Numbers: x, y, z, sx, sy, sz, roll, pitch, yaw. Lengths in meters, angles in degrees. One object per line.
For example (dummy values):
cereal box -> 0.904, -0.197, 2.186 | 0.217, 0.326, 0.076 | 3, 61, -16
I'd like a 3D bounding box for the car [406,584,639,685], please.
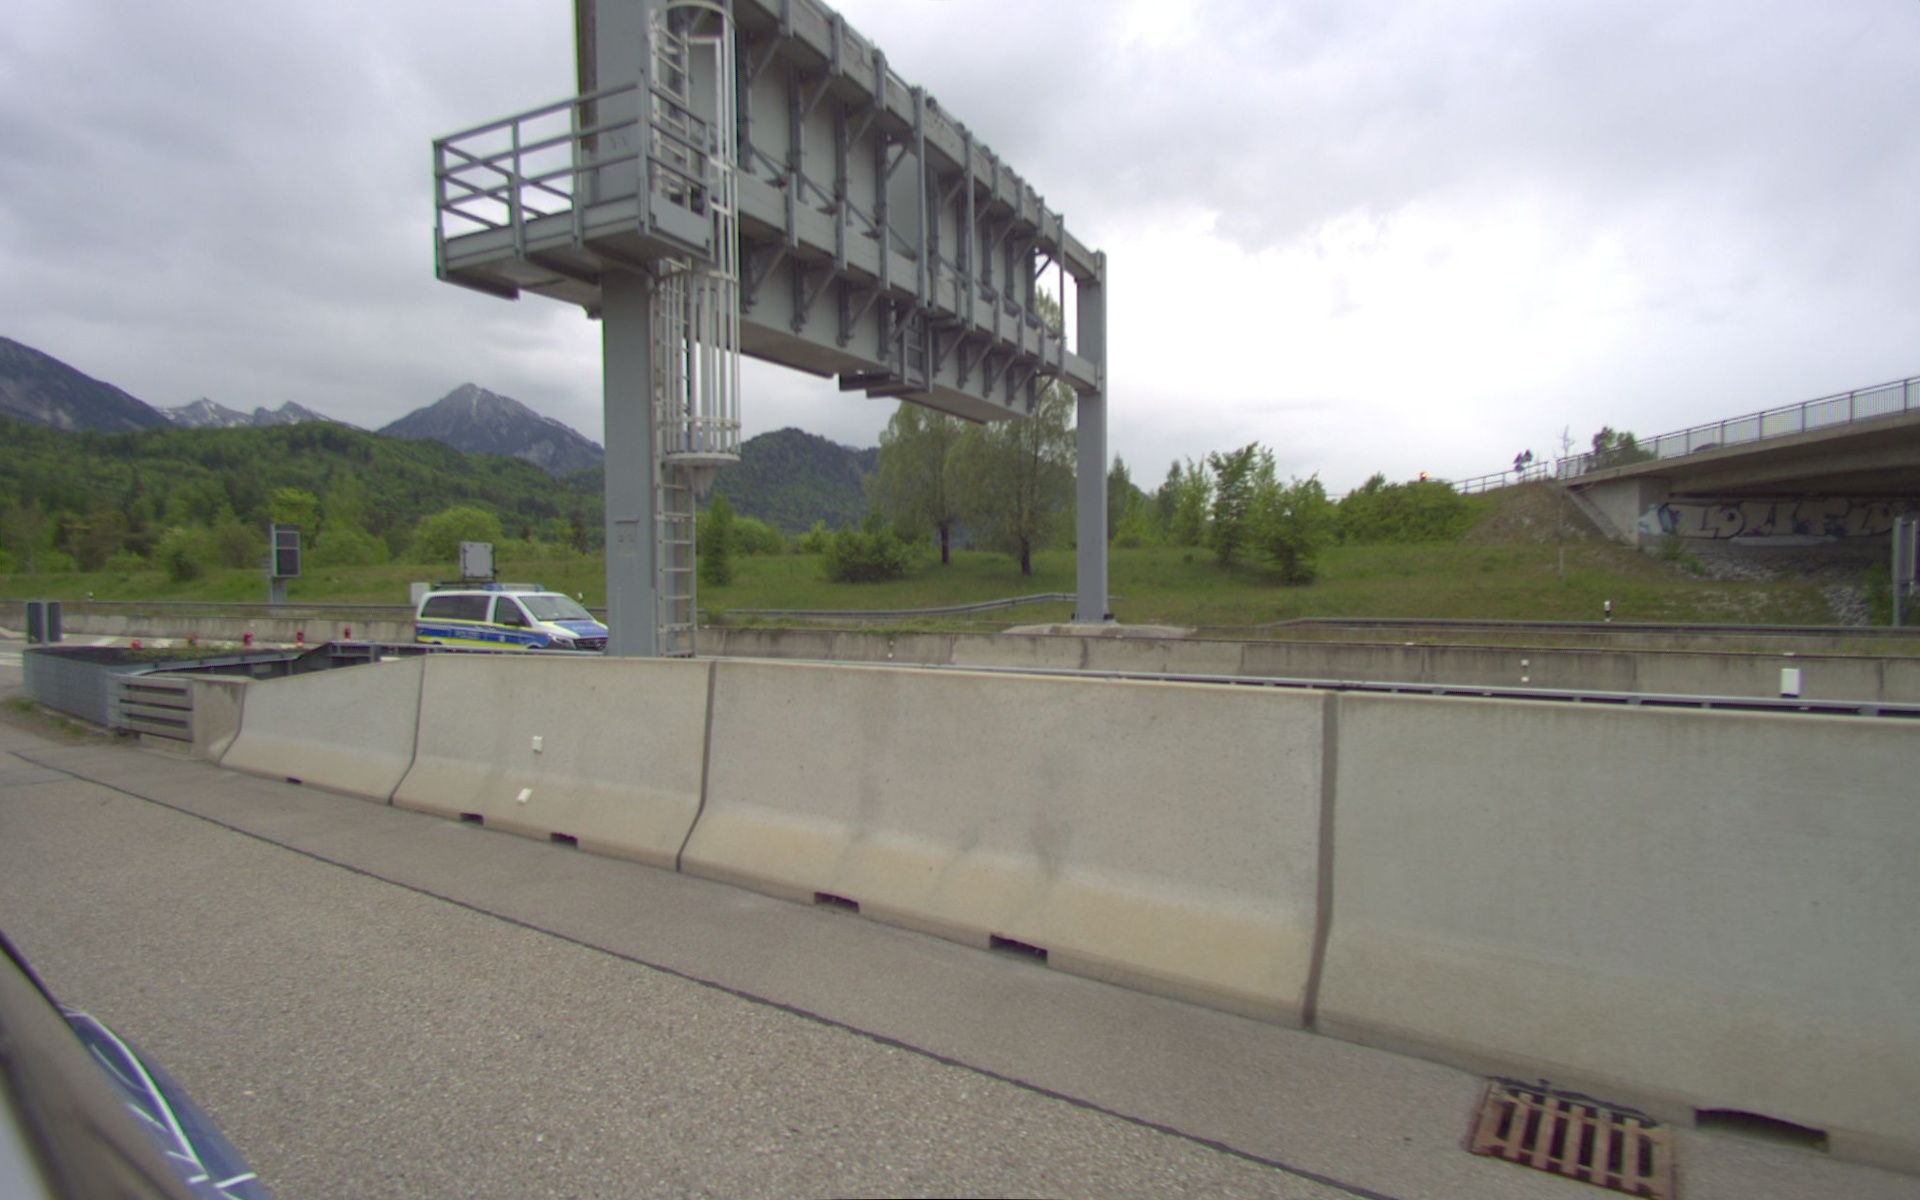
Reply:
car -> -9.730, 0.690, 22.434 | 5.028, 2.029, 2.085 | 0, 0, 28
